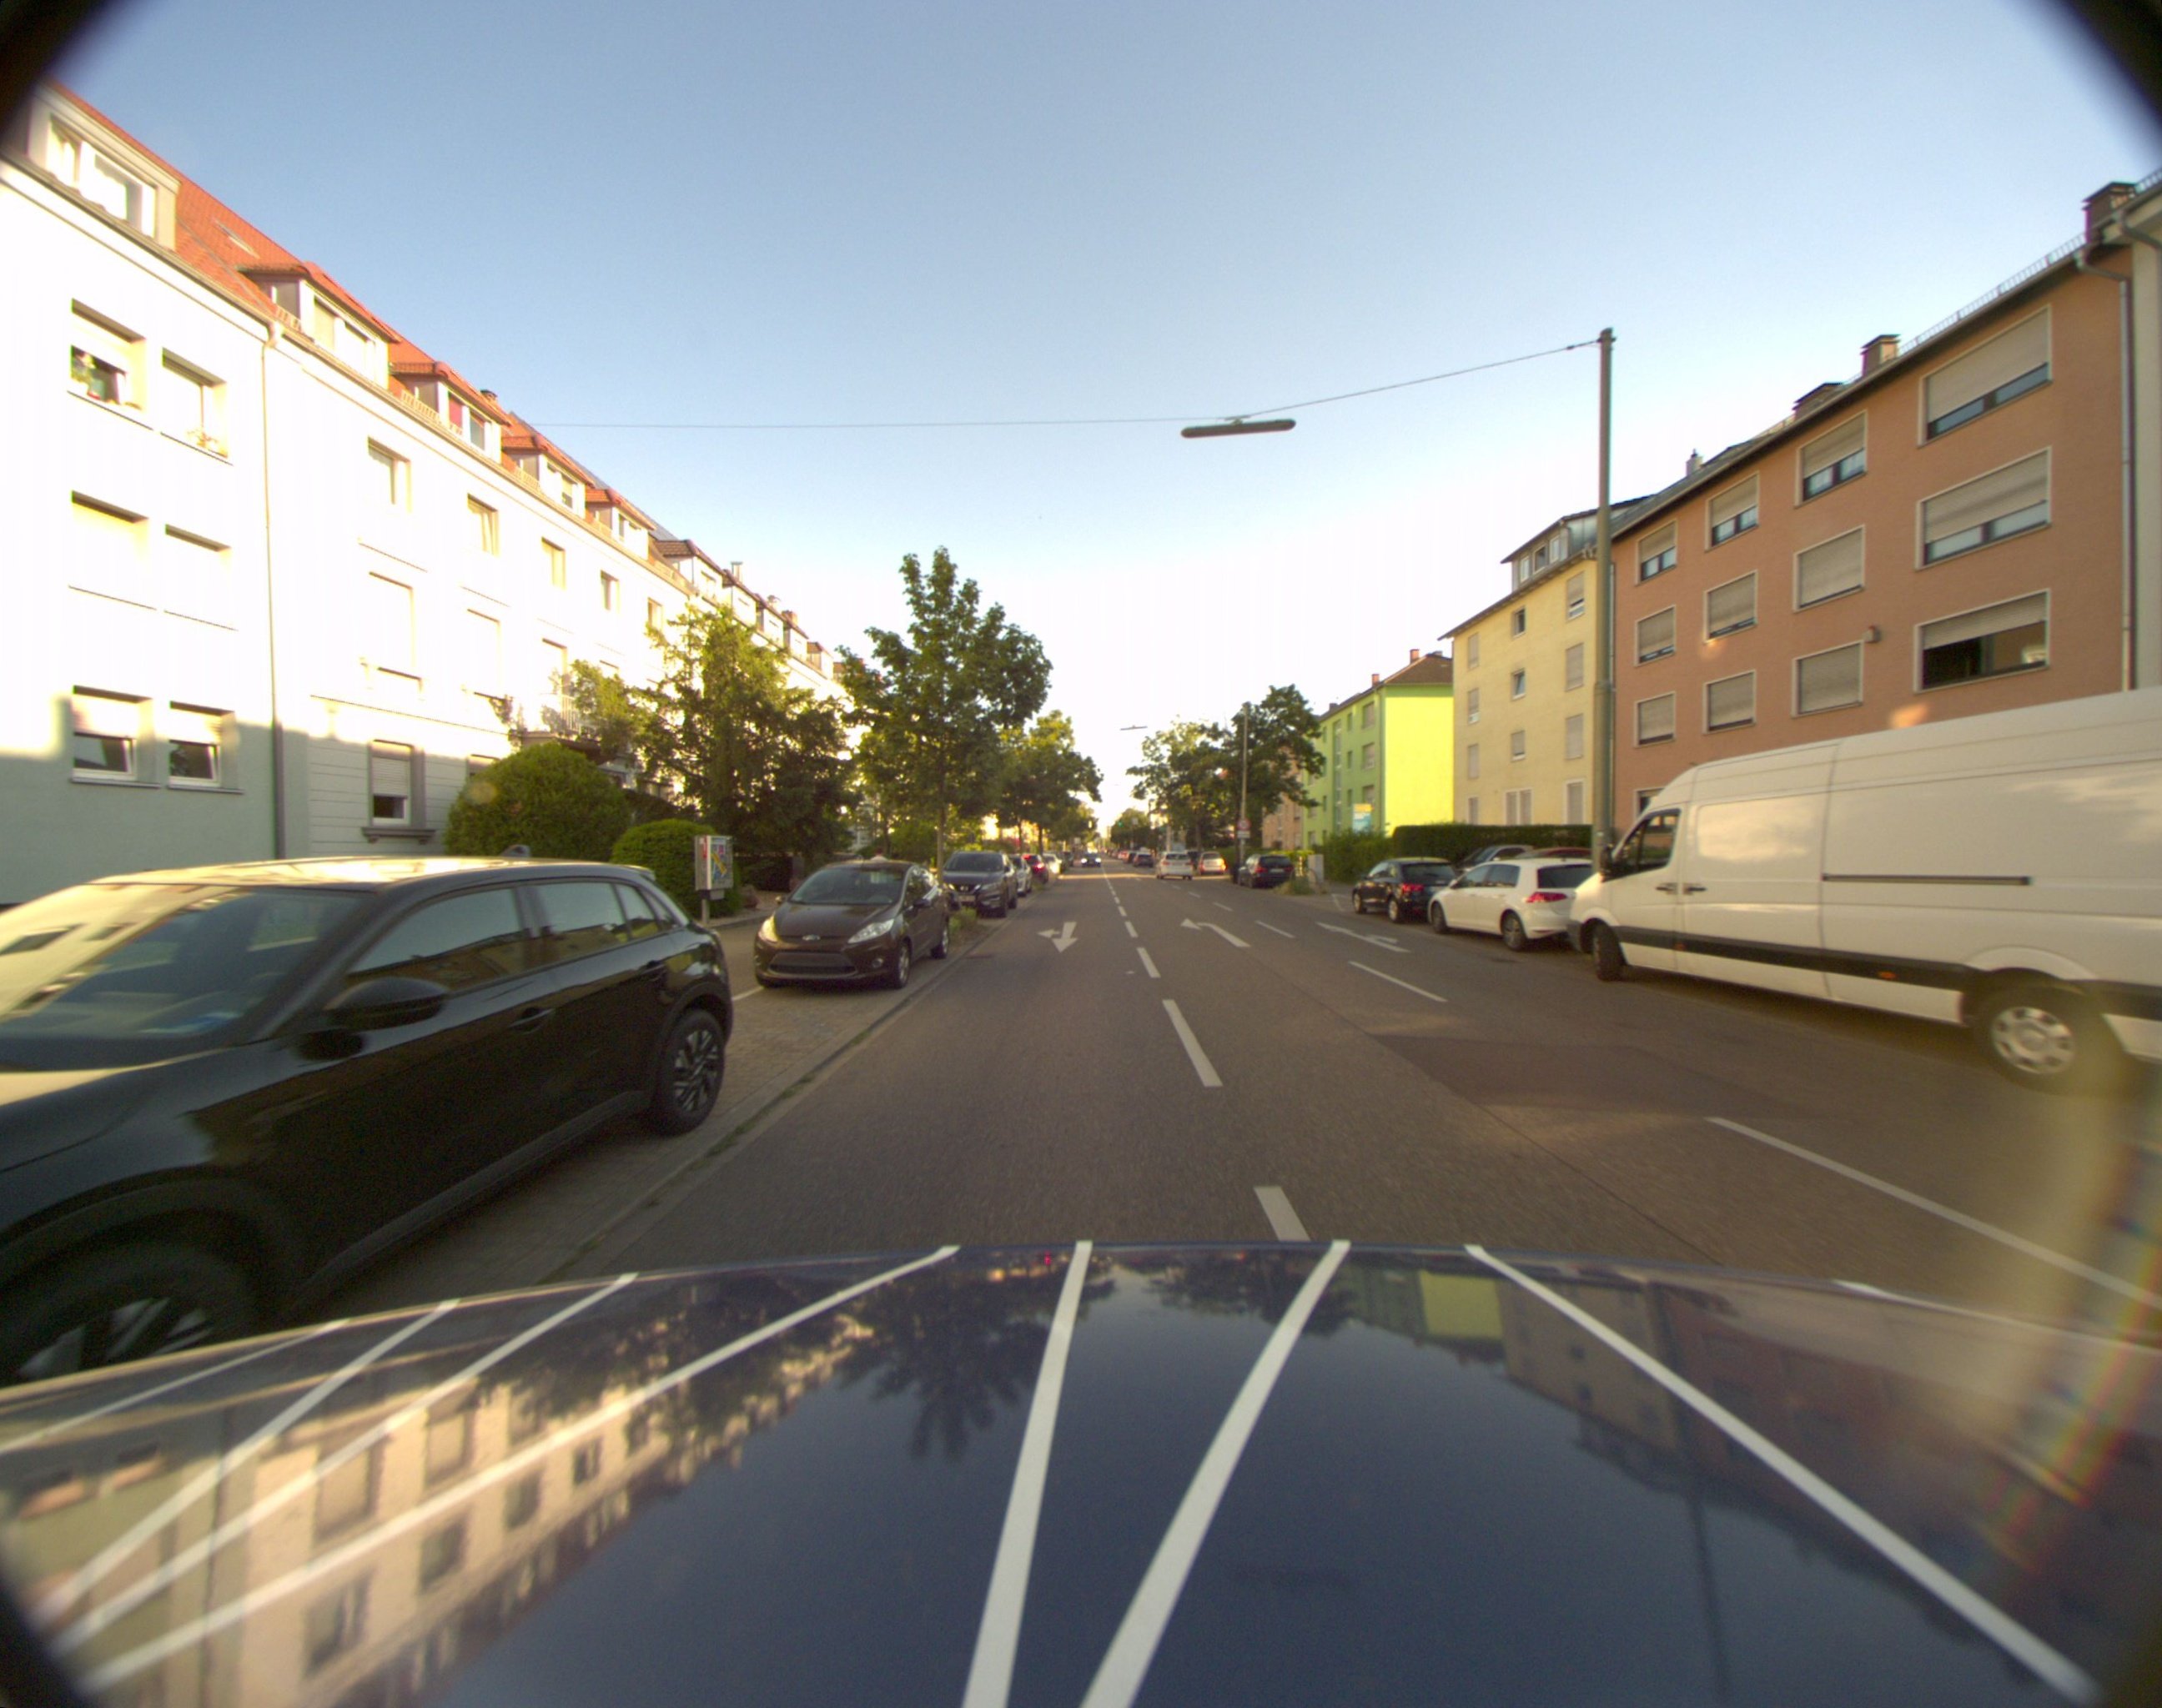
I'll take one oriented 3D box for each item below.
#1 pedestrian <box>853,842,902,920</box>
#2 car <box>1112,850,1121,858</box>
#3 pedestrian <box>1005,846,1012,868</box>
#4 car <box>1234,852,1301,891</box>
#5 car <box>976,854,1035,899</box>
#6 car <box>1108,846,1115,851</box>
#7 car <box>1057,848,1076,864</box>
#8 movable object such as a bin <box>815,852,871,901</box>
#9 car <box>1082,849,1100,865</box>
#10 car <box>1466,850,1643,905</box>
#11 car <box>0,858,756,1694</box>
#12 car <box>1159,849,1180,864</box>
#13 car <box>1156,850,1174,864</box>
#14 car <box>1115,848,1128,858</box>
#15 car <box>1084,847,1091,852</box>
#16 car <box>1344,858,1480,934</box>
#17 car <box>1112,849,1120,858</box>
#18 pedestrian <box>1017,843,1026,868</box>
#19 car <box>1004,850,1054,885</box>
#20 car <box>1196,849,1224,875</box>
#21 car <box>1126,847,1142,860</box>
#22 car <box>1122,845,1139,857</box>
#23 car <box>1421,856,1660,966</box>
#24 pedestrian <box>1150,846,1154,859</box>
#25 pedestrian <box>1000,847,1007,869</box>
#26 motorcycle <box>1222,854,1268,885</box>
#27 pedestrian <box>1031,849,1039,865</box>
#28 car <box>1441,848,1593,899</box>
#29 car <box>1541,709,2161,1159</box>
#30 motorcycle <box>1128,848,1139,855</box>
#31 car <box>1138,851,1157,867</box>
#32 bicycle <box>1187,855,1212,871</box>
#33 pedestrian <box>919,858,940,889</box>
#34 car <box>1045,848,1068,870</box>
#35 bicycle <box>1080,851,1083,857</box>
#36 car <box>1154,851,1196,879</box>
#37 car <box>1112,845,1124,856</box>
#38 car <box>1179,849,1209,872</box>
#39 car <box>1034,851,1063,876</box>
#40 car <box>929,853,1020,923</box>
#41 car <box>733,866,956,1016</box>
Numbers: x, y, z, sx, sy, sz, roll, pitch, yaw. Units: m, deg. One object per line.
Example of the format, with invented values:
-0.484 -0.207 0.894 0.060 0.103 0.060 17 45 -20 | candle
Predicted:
-4.558 0.588 17.044 0.789 1.691 0.808 -1 1 6 | pedestrian
7.381 -0.038 159.136 1.841 1.465 4.671 1 1 1 | car
-5.503 0.232 57.471 0.512 1.687 0.527 -1 1 -4 | pedestrian
7.898 0.690 32.575 1.783 1.496 4.588 -1 1 1 | car
-2.684 0.746 27.882 1.722 1.485 4.393 0 1 0 | car
8.254 -1.416 207.881 1.845 1.312 4.441 0 1 2 | car
-1.448 0.198 78.165 1.796 1.622 4.029 -1 1 0 | car
-7.576 0.695 24.228 1.269 1.484 1.140 2 1 11 | movable object such as a bin
1.001 0.259 76.154 1.641 1.482 4.415 1 1 1 | car
13.846 0.660 22.397 3.996 1.405 1.916 -2 1 1 | car
-3.065 0.899 2.740 1.758 1.653 4.252 2 1 3 | car
9.053 0.230 78.154 1.641 1.543 3.785 0 1 -2 | car
9.123 0.346 82.938 1.657 1.471 3.943 0 1 2 | car
6.582 -0.200 124.939 1.820 1.438 4.109 2 1 0 | car
1.878 -1.196 206.076 1.744 1.509 3.811 0 1 3 | car
7.579 0.894 17.796 1.616 1.464 3.813 -2 0 2 | car
8.170 -0.123 177.158 1.866 1.819 5.228 1 1 4 | car
-4.512 0.122 57.500 0.549 1.839 0.765 0 1 8 | pedestrian
-2.518 0.620 37.860 1.879 1.572 4.821 1 1 3 | car
8.420 0.517 49.693 1.502 1.607 2.862 -1 1 4 | car
6.212 -0.055 89.582 1.704 1.395 4.027 2 1 1 | car
6.602 -0.401 101.550 1.837 1.462 4.450 2 1 -1 | car
7.656 0.847 13.188 1.711 1.483 4.058 -3 0 1 | car
11.215 -0.190 120.092 0.639 2.002 0.739 0 1 2 | pedestrian
-5.981 0.304 58.494 0.512 1.687 0.527 -1 1 -4 | pedestrian
7.939 0.746 36.782 2.031 1.381 0.988 -3 2 -31 | motorcycle
-4.394 0.277 72.153 0.558 1.559 0.747 -1 1 -17 | pedestrian
14.137 0.613 24.780 3.997 1.520 1.629 -1 1 1 | car
7.276 0.423 6.883 1.998 2.601 7.105 -2 0 1 | car
10.355 -0.492 150.049 1.263 1.526 2.887 -1 1 -13 | motorcycle
6.457 0.438 73.856 1.703 1.462 4.295 1 1 5 | car
8.581 0.672 54.975 1.679 1.083 0.560 -2 1 3 | bicycle
-6.177 0.790 30.991 0.674 1.227 0.790 -1 1 2 | pedestrian
-1.925 0.336 60.275 1.726 1.646 4.596 -1 1 -2 | car
0.108 -0.040 139.292 0.325 0.981 1.191 0 1 6 | bicycle
5.356 0.586 43.861 1.884 1.534 4.266 0 0 0 | car
6.601 -0.611 136.817 1.998 1.935 4.777 2 1 1 | car
8.642 0.475 58.390 1.788 1.723 4.617 0 1 2 | car
-2.094 0.582 49.778 1.641 1.482 4.415 1 1 1 | car
-2.607 0.785 19.503 1.722 1.592 4.096 0 1 1 | car
-2.797 0.939 9.917 1.617 1.457 3.958 1 1 1 | car
